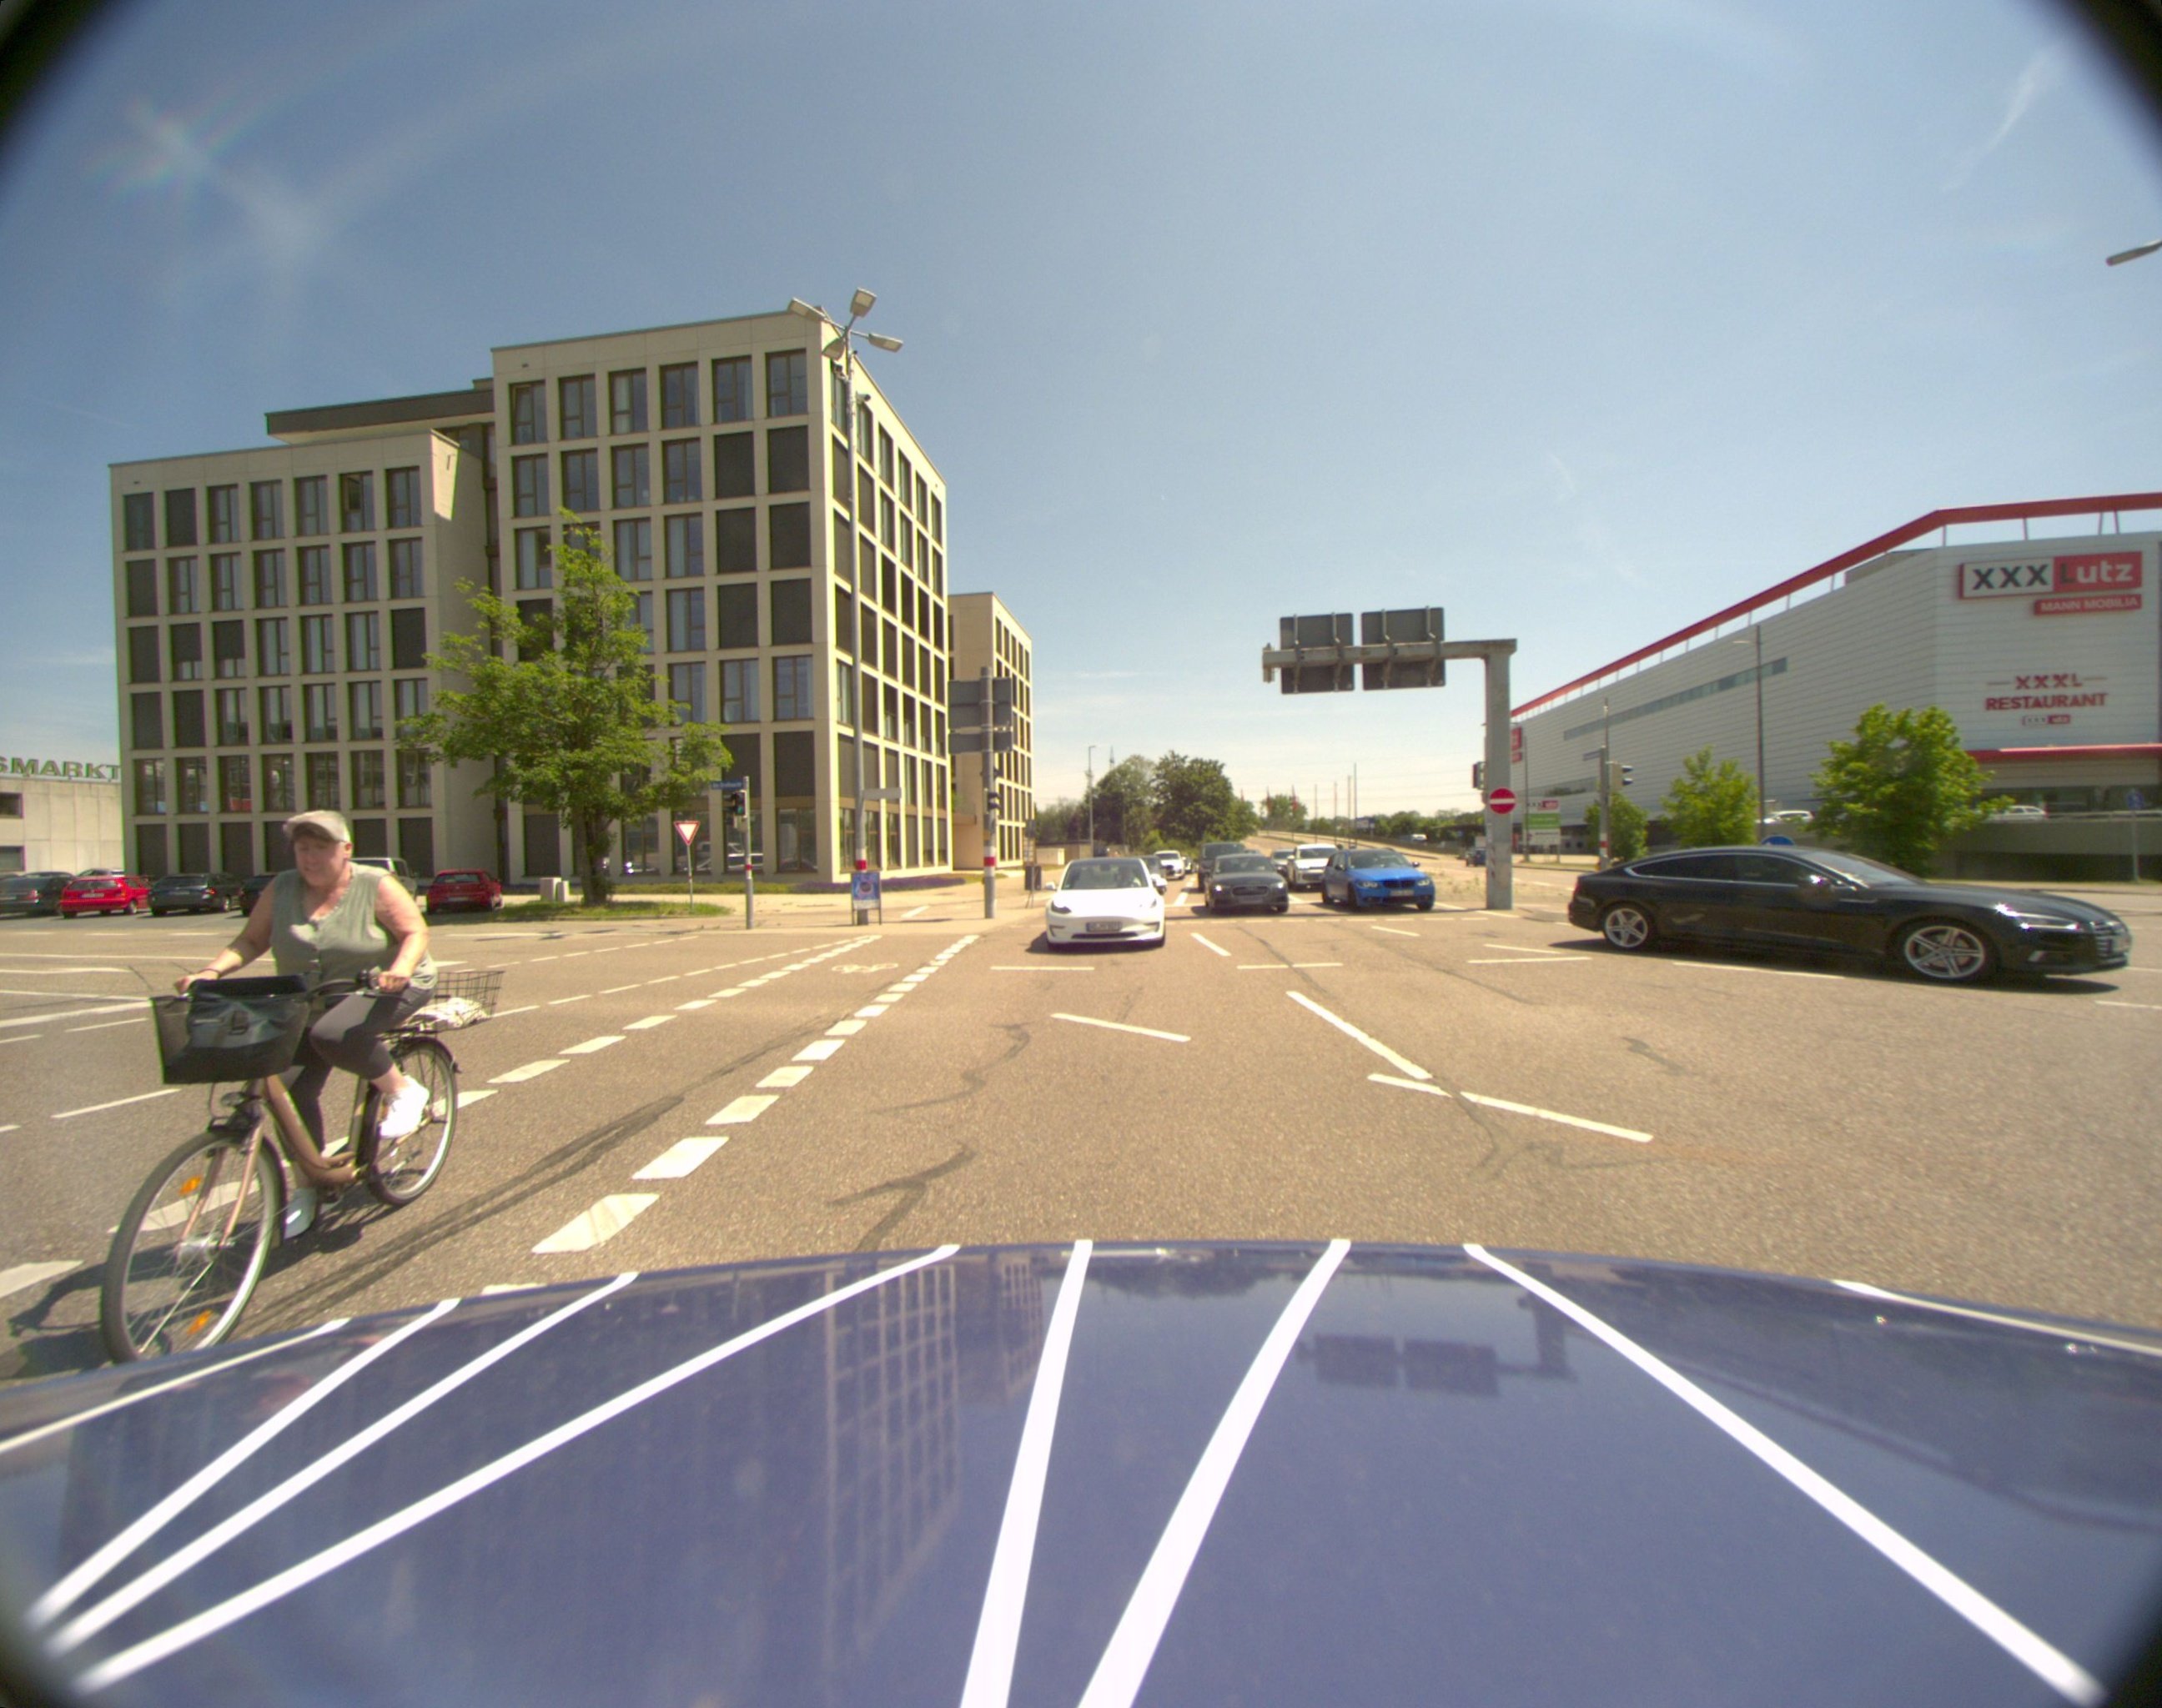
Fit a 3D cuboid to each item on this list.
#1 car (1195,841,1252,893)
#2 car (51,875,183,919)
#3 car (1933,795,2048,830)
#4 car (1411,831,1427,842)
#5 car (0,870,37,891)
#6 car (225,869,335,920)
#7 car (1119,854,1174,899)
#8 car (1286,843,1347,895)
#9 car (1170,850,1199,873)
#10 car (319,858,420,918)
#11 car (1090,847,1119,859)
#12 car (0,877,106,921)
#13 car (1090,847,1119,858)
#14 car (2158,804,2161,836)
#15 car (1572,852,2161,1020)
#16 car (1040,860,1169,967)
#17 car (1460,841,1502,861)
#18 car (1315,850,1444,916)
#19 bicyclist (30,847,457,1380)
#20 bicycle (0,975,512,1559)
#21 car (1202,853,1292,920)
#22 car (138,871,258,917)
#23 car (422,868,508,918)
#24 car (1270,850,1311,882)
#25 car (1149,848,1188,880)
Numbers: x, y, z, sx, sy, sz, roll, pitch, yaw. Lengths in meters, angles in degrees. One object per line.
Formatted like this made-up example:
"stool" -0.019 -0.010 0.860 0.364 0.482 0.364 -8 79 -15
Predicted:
"car" 5.636 0.441 29.553 1.894 1.811 4.841 -2 1 13
"car" -35.379 1.513 28.034 1.923 1.345 3.989 -2 1 -36
"car" 56.024 -2.530 46.877 4.467 2.002 1.680 -1 1 12
"car" 73.187 -3.706 164.568 2.190 2.270 4.817 -1 1 12
"car" -66.427 1.662 46.326 3.994 1.149 1.697 -3 1 11
"car" -28.255 1.360 26.957 1.923 1.580 3.989 -2 1 -36
"car" 2.556 0.798 28.853 1.555 1.528 3.824 -1 1 13
"car" 8.318 0.479 27.197 1.767 1.631 4.495 -3 0 14
"car" 6.997 0.498 51.149 1.768 1.395 3.953 -1 1 10
"car" -24.999 1.140 26.876 1.923 1.875 4.920 -2 0 -36
"car" 3.304 -0.143 106.258 3.831 1.543 1.737 -1 1 -5
"car" -38.366 1.621 28.017 1.878 1.367 3.989 -2 1 -36
"car" 3.353 -0.218 108.330 3.831 1.386 1.737 -1 1 -5
"car" 67.307 -2.072 44.845 1.781 2.002 4.236 -1 1 9
"car" 8.456 0.702 8.821 1.679 1.396 4.458 -1 0 -23
"car" 0.297 0.887 13.264 1.823 1.428 4.283 -3 0 -1
"car" 33.462 -0.257 63.678 1.997 1.587 4.002 -1 1 9
"car" 7.066 0.641 18.458 1.768 1.394 4.433 -1 0 6
"bicyclist" -2.925 0.793 2.780 0.630 1.596 0.824 -3 1 -15
"bicycle" -2.905 1.168 2.771 0.630 1.126 1.892 -2 1 -15
"car" 3.997 0.728 18.869 1.768 1.374 4.091 -2 1 7
"car" -32.213 1.405 27.864 1.923 1.431 3.989 -2 1 -36
"car" -21.279 1.275 26.382 1.702 1.424 3.990 -2 2 -31
"car" 10.136 0.538 36.672 1.767 1.414 3.904 -3 0 17
"car" 4.907 0.542 42.211 1.776 1.600 3.823 -1 1 12
